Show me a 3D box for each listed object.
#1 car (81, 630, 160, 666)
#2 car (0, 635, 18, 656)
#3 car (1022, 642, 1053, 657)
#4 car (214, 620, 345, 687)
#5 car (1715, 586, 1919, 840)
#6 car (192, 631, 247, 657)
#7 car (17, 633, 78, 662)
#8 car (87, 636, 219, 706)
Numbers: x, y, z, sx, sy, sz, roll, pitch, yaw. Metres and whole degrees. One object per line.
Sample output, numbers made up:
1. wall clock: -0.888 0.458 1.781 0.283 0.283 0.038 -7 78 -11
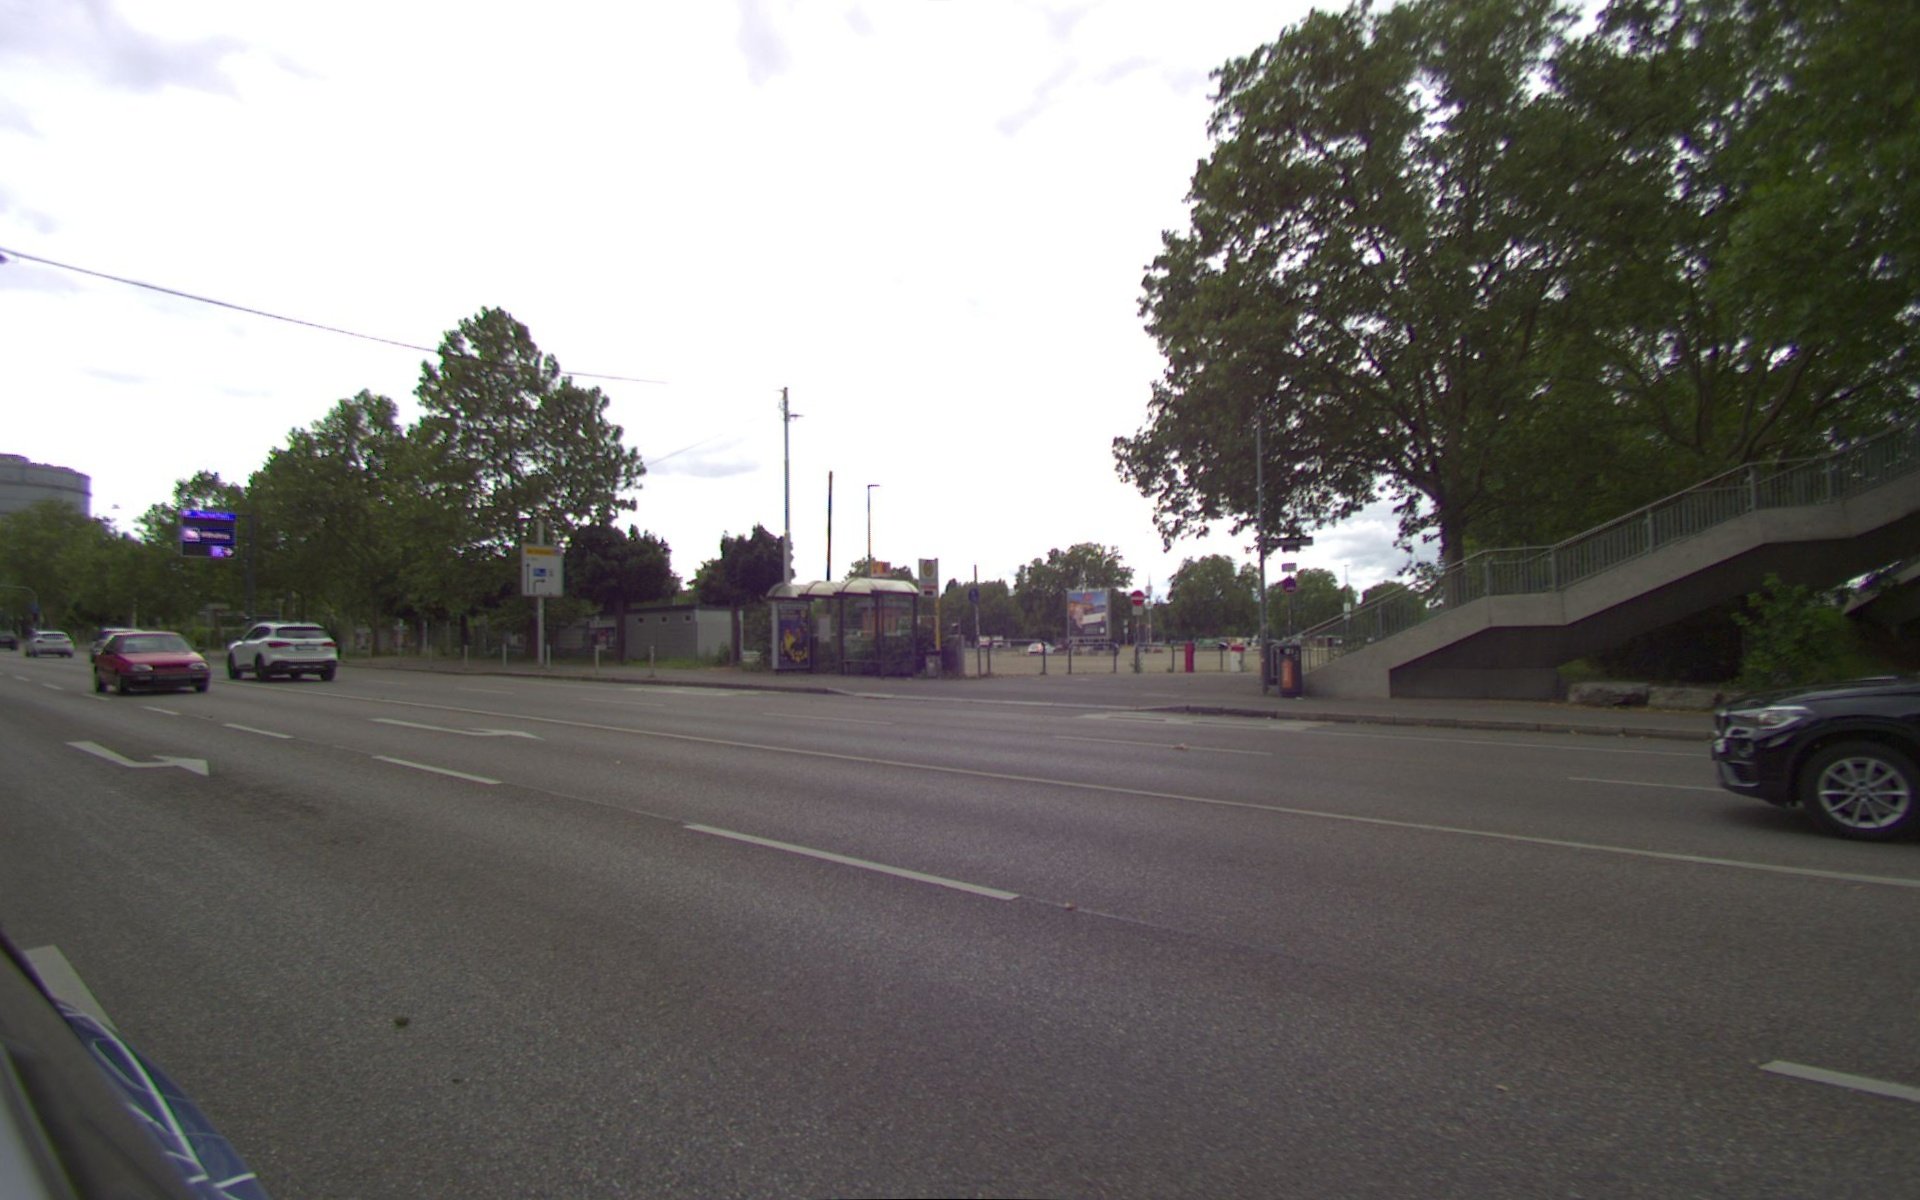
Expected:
1. car: -37.805 2.133 45.536 3.996 1.537 1.974 -2 -3 39
2. car: -72.090 3.395 75.575 4.722 1.542 1.973 -2 -3 40
3. car: 9.317 5.932 121.577 1.994 1.716 3.942 -1 -1 33
4. car: -19.888 1.504 29.505 4.592 1.758 1.973 0 -2 41
5. car: 7.591 0.726 6.439 4.420 1.618 1.753 -2 -4 37
6. car: -59.707 3.510 81.571 4.628 2.029 2.364 -2 -3 37
7. car: -51.063 2.648 56.615 4.382 1.542 1.973 -2 -3 41
8. car: -18.950 1.591 23.718 4.076 1.463 1.809 -2 -2 42
